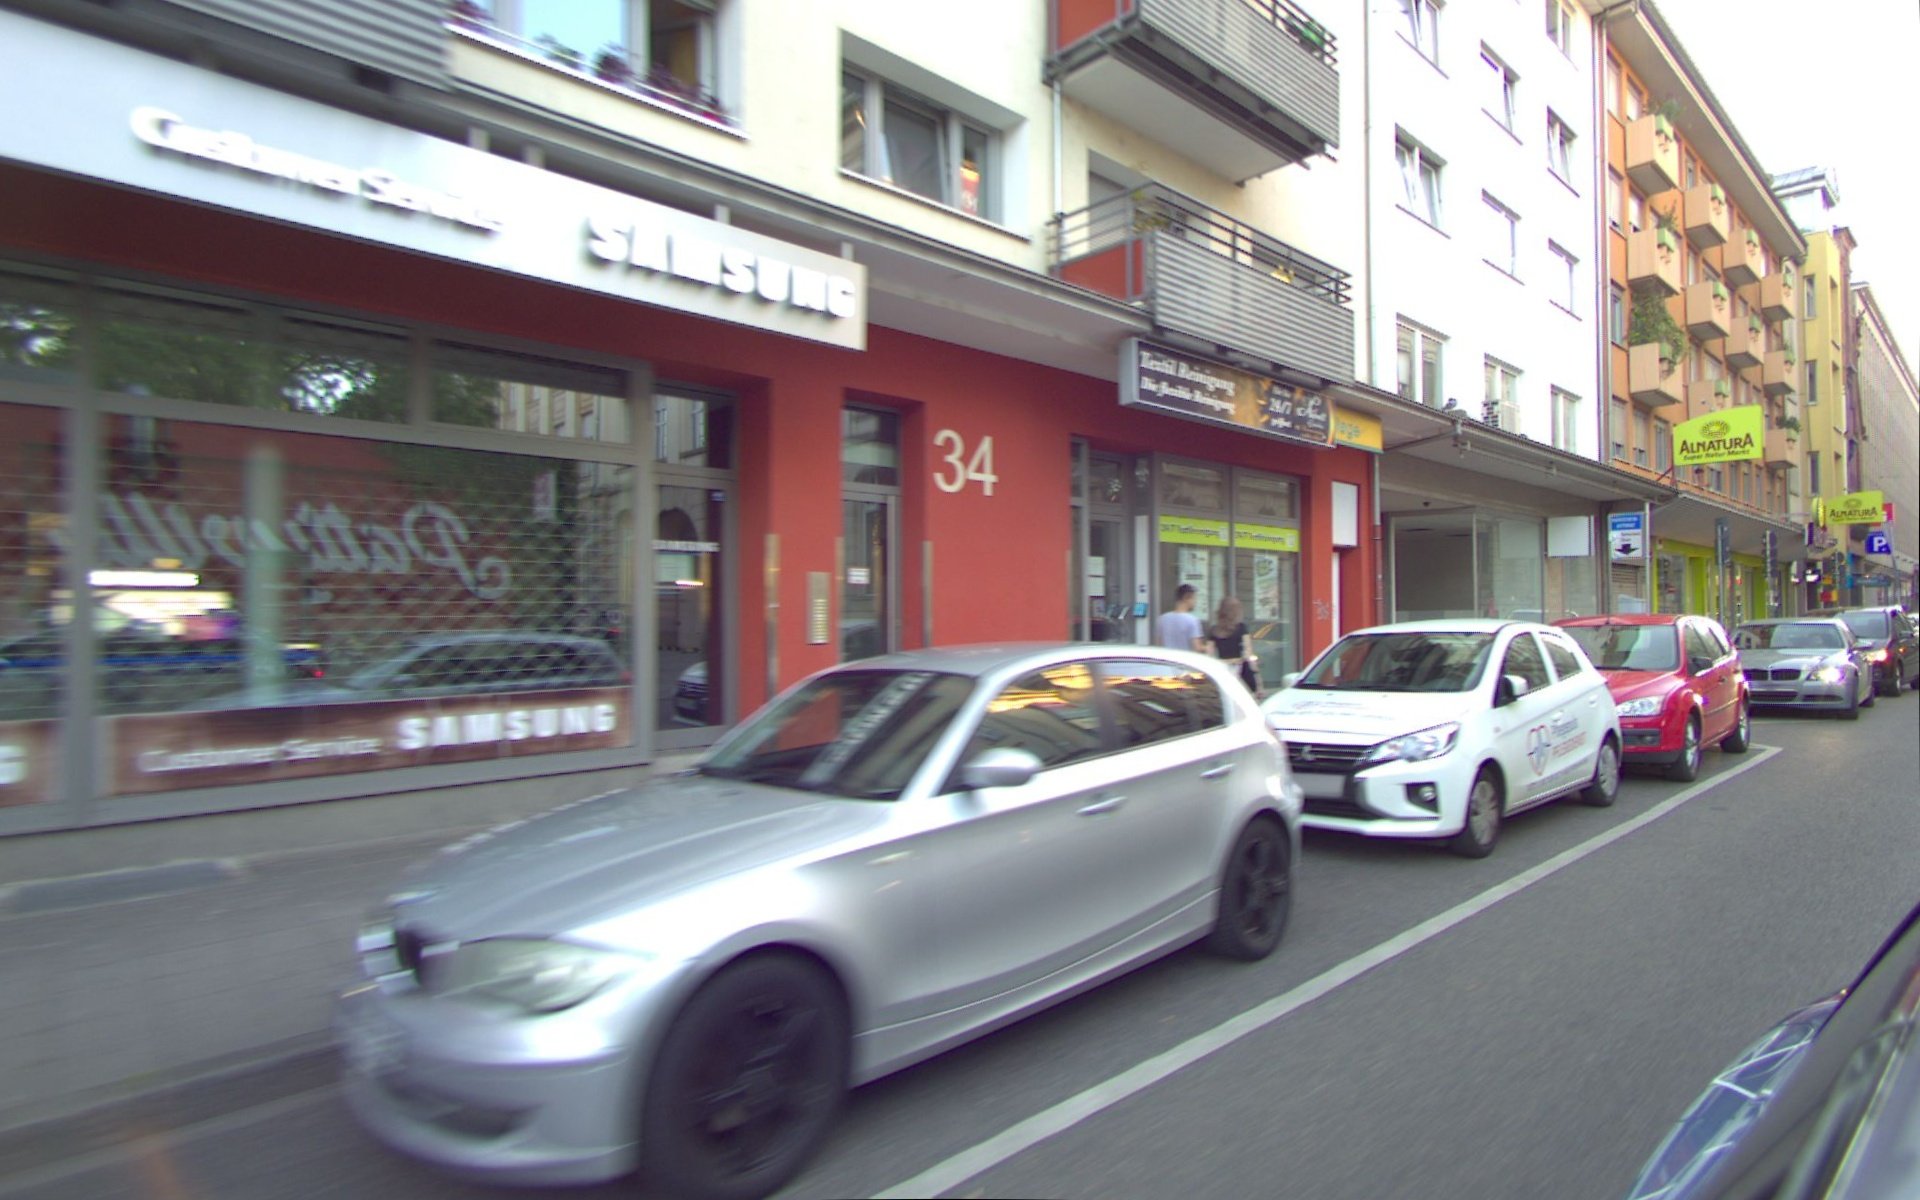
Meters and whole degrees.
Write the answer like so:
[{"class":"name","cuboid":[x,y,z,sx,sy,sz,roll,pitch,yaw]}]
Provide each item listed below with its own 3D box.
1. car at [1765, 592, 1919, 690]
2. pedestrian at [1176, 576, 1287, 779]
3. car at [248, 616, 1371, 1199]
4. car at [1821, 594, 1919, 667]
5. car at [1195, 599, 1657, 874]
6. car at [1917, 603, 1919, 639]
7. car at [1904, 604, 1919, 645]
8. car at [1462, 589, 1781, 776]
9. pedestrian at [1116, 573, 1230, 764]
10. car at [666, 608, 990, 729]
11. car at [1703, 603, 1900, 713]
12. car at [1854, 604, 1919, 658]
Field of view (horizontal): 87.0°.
[{"class":"car","cuboid":[16.903,0.739,18.951,4.403,1.631,1.798,1,-3,-38]},{"class":"pedestrian","cuboid":[2.389,0.647,8.924,0.643,1.682,0.649,1,1,-40]},{"class":"car","cuboid":[-0.130,0.837,4.166,4.384,1.471,1.699,1,-4,-44]},{"class":"car","cuboid":[23.283,0.765,25.460,4.673,1.690,1.754,1,-4,-42]},{"class":"car","cuboid":[3.641,0.819,7.583,3.977,1.532,1.608,1,-4,-41]},{"class":"car","cuboid":[39.901,0.871,40.780,4.103,1.536,1.619,1,-4,-43]},{"class":"car","cuboid":[36.150,0.875,37.349,4.563,1.430,1.691,1,-4,-45]},{"class":"car","cuboid":[7.009,0.742,10.502,4.574,1.532,1.713,1,-4,-44]},{"class":"pedestrian","cuboid":[1.988,0.602,9.454,0.779,1.682,0.649,1,2,-40]},{"class":"car","cuboid":[-1.640,0.793,13.346,3.929,1.354,1.743,1,-1,-40]},{"class":"car","cuboid":[12.941,0.830,15.454,4.603,1.434,1.737,1,-4,-44]},{"class":"car","cuboid":[26.913,0.871,28.725,4.673,1.433,1.693,1,-4,-42]}]
